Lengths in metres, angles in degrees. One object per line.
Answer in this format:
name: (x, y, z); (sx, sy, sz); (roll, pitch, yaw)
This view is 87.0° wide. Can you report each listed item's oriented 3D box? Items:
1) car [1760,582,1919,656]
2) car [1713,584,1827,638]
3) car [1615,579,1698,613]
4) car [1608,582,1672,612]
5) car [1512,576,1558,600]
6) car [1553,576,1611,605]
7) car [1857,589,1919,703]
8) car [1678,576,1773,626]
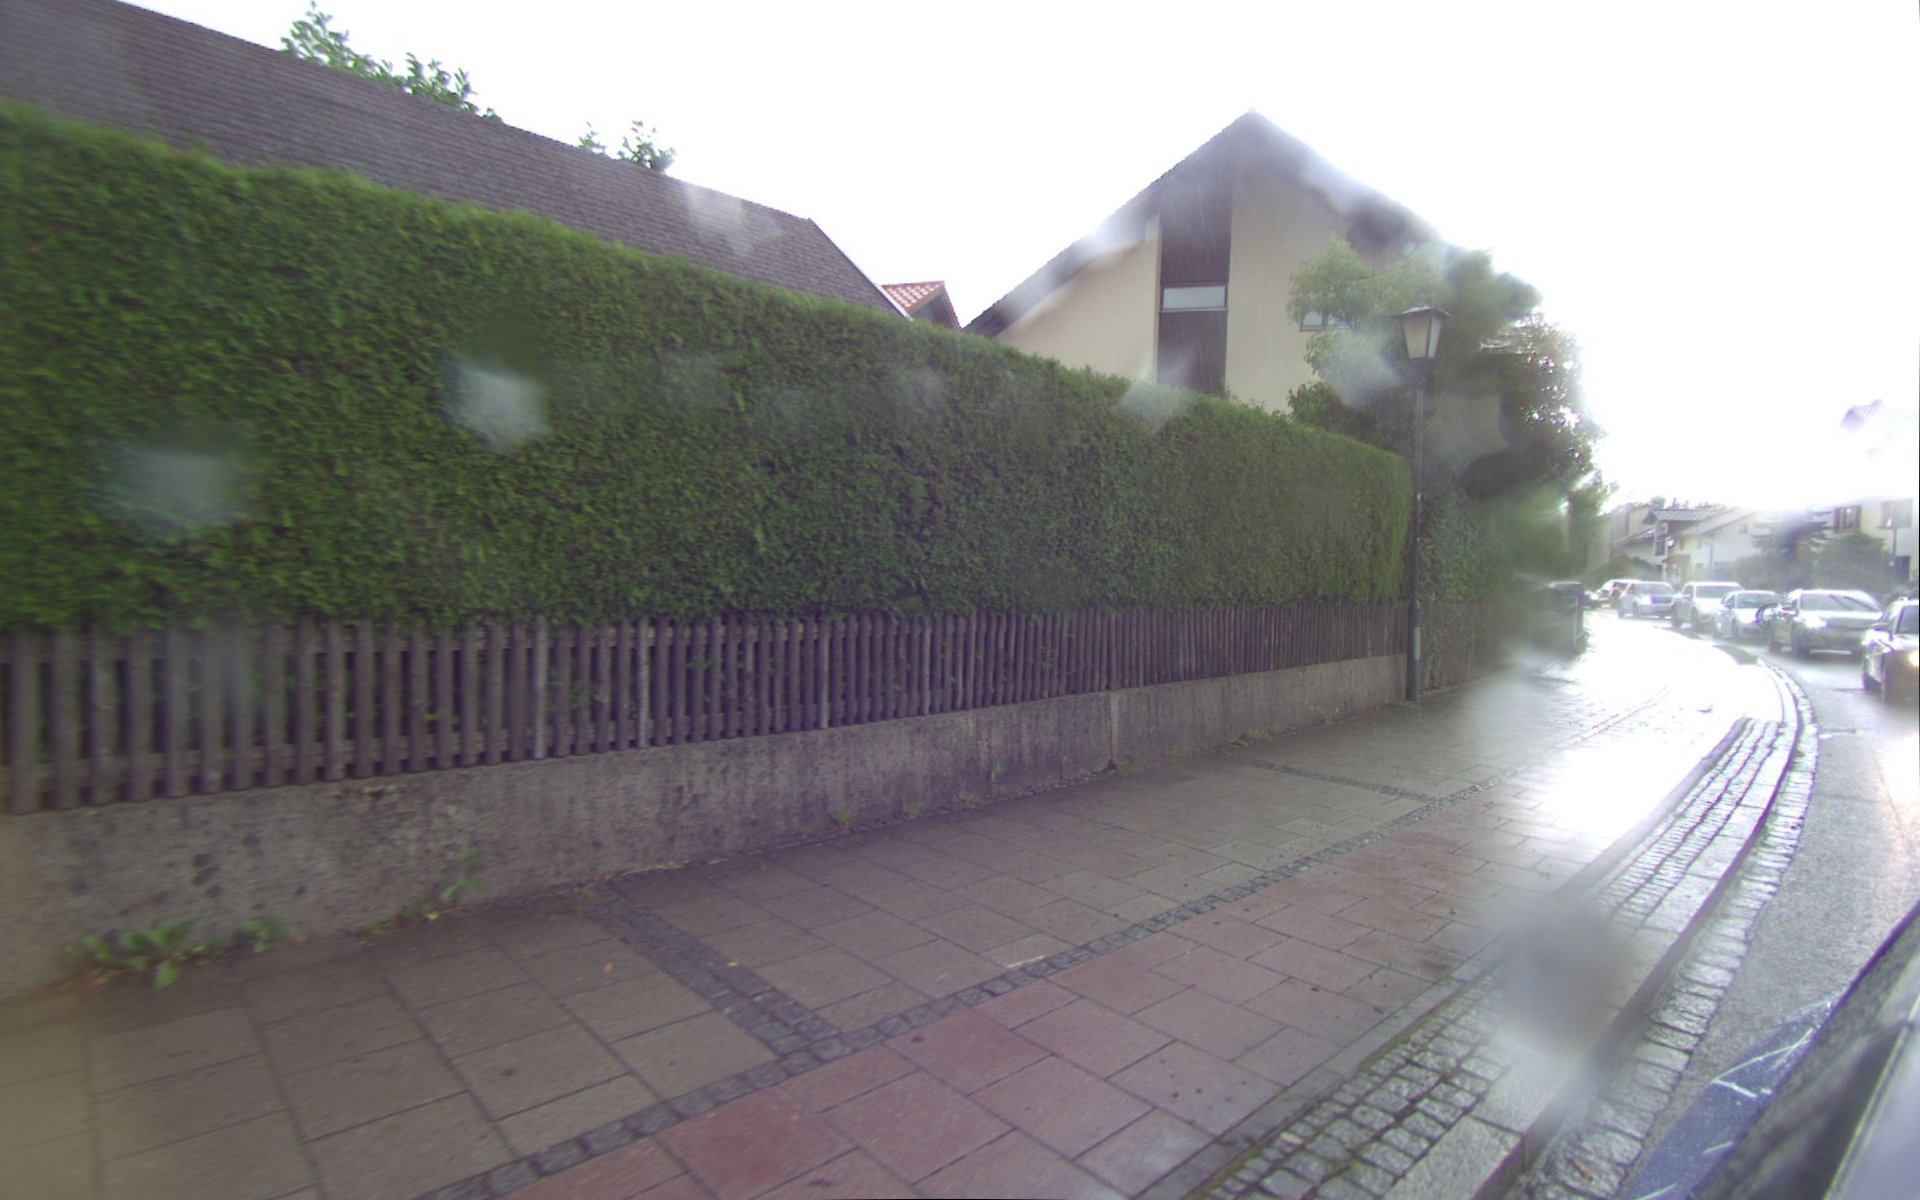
car: (20.057, 0.344, 23.212); (1.779, 1.497, 5.332); (0, 1, 29)
car: (22.876, 0.255, 28.742); (1.779, 1.412, 4.238); (0, 1, 29)
car: (30.190, -0.214, 44.018); (1.771, 1.390, 4.257); (0, 1, 18)
car: (37.480, -0.173, 55.884); (1.975, 1.615, 4.164); (0, 1, 20)
car: (38.522, -0.836, 67.917); (1.771, 1.568, 4.258); (0, 1, 17)
car: (34.646, -0.529, 56.478); (1.771, 1.568, 4.257); (0, 1, 18)
car: (14.101, 0.578, 14.214); (1.784, 1.412, 4.227); (0, 1, 35)
car: (25.857, -0.015, 34.339); (1.777, 1.568, 4.243); (0, 1, 26)
